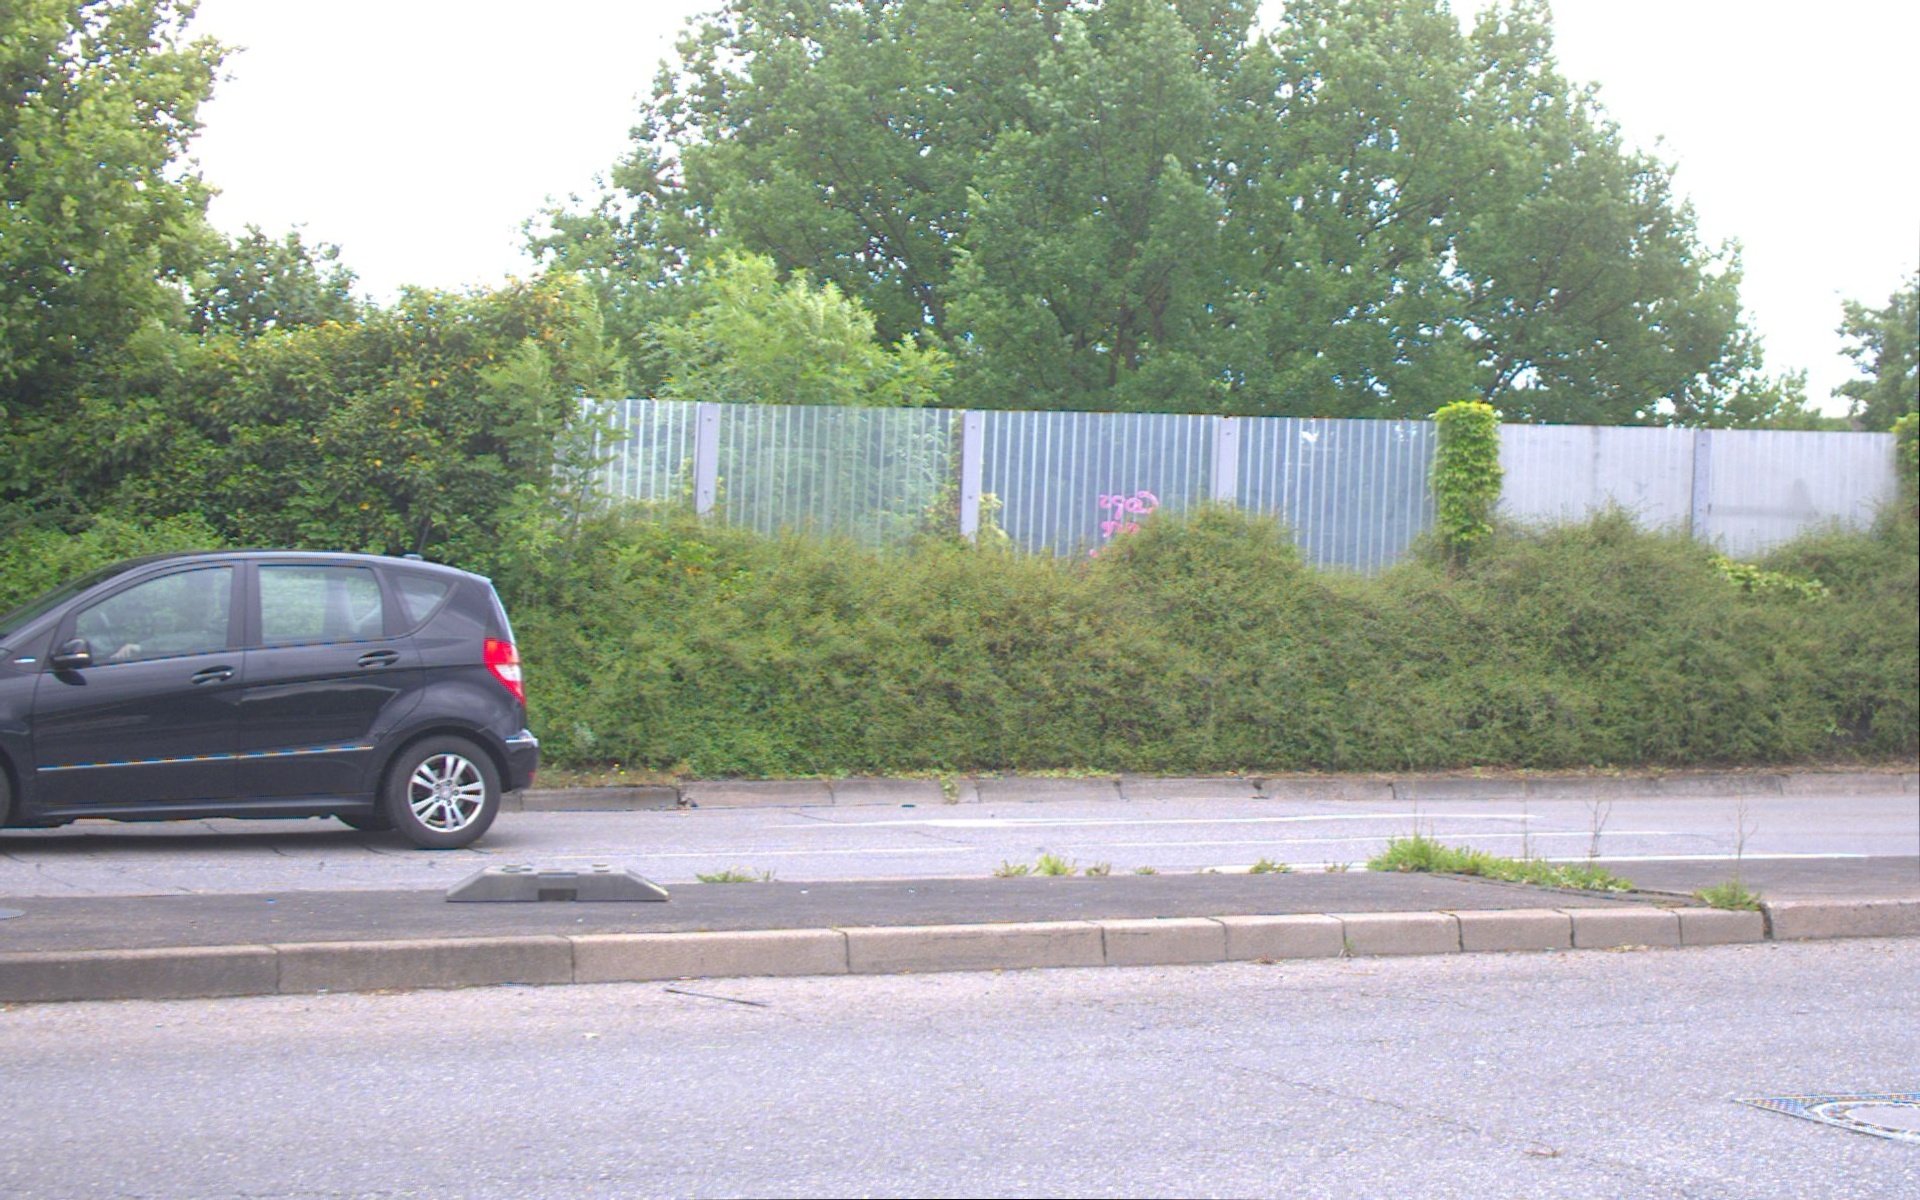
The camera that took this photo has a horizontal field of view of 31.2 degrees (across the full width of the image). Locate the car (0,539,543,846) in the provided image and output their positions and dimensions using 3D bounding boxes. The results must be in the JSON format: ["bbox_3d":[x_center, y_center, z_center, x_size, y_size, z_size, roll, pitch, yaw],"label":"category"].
[{"bbox_3d":[-4.289,0.489,18.423,3.775,1.547,1.644,1,-1,-22],"label":"car"}]
